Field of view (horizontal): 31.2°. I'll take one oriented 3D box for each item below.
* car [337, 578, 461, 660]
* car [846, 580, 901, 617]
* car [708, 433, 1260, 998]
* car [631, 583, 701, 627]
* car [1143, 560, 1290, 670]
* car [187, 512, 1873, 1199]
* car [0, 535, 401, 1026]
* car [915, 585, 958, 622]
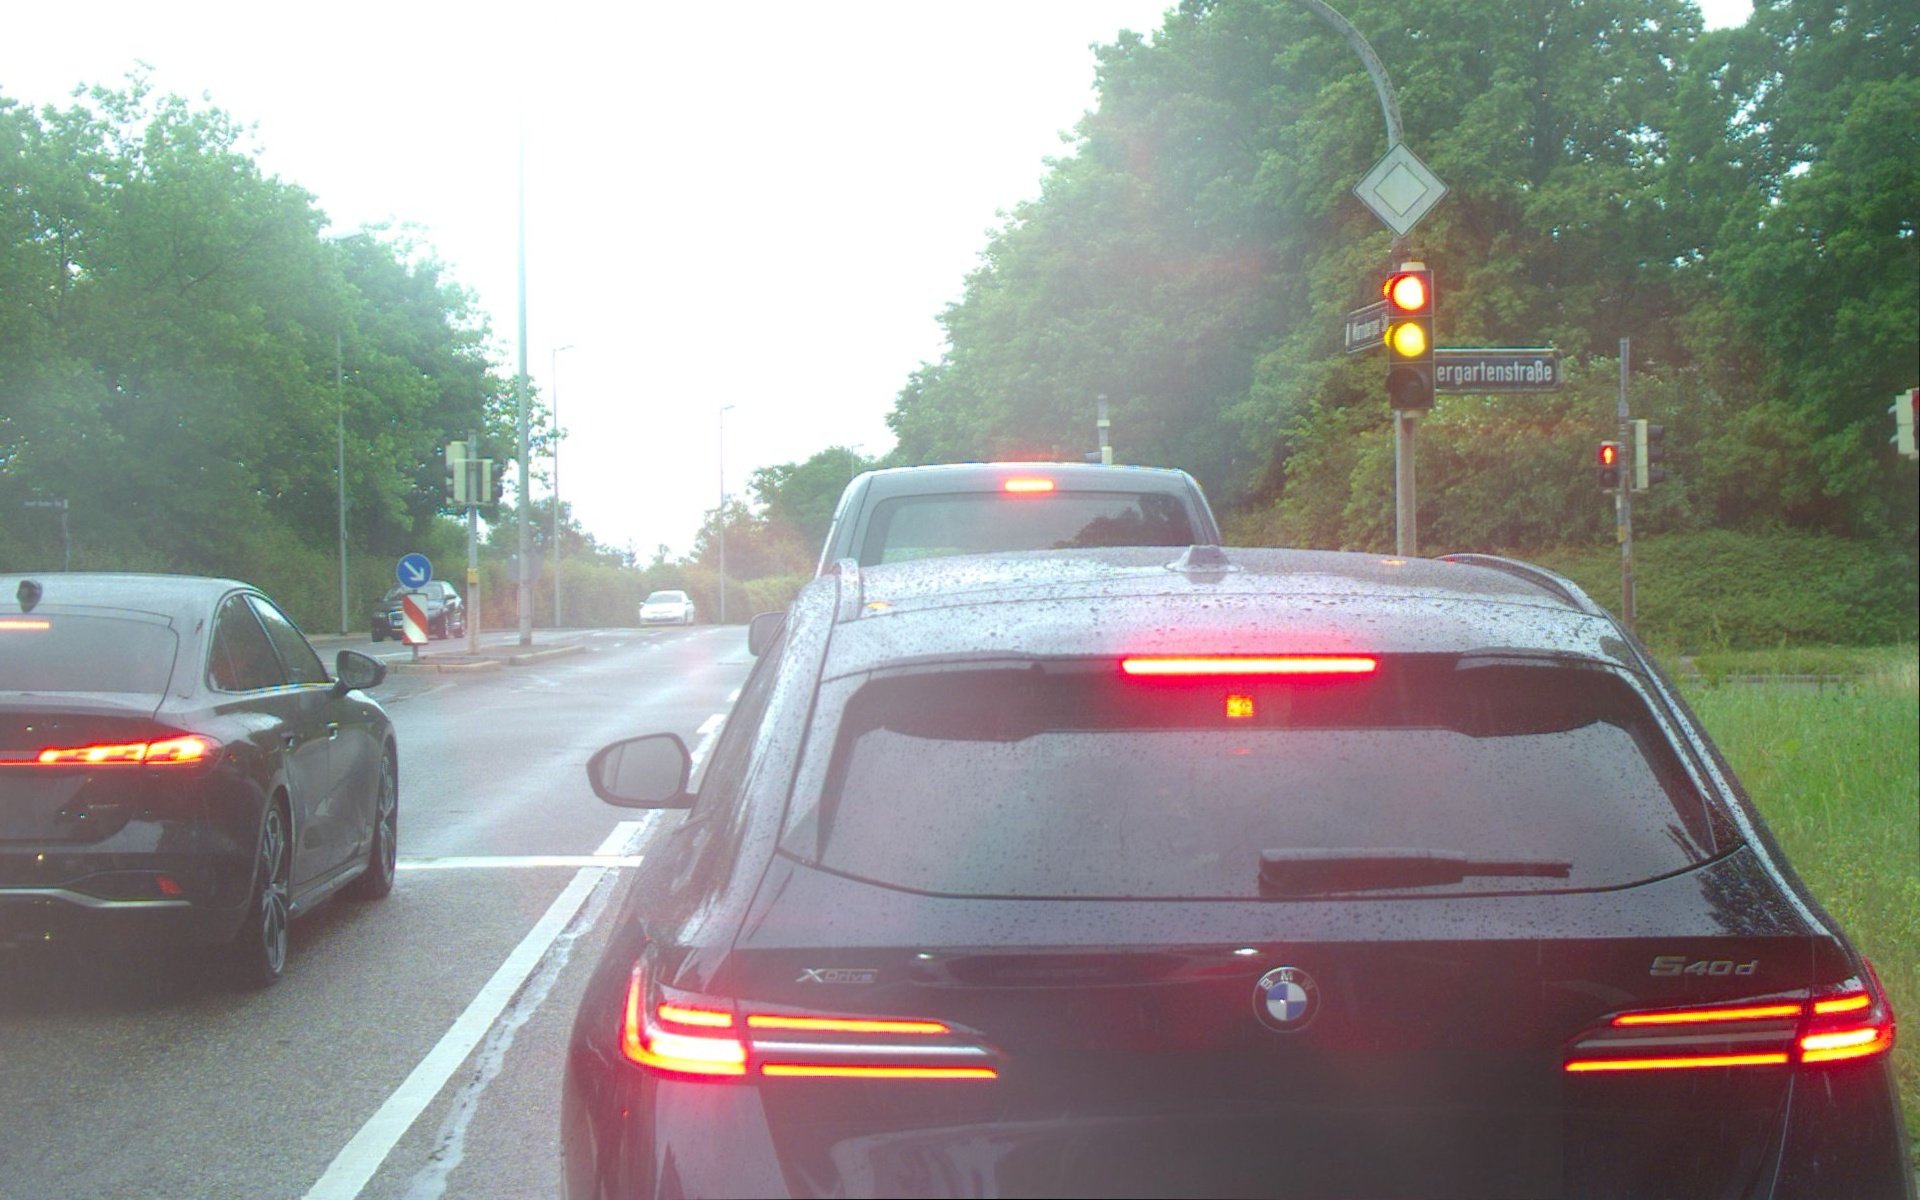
[{"bbox_3d":[-13.254,0.421,81.470,1.994,1.820,4.000,-2,0,3],"label":"car"},{"bbox_3d":[-4.343,-0.105,173.184,2.106,1.759,4.867,-2,0,6],"label":"car"},{"bbox_3d":[0.076,0.368,13.355,1.818,1.862,3.952,0,0,0],"label":"car"},{"bbox_3d":[-11.436,0.185,133.885,1.994,1.605,3.671,-2,0,6],"label":"car"},{"bbox_3d":[3.870,0.207,52.423,1.873,1.537,3.952,-2,0,0],"label":"car"},{"bbox_3d":[0.183,0.685,6.181,1.898,1.546,4.614,0,0,3],"label":"car"},{"bbox_3d":[-3.405,0.584,13.021,1.993,1.522,4.328,-2,0,-3],"label":"car"},{"bbox_3d":[-0.964,0.127,142.492,1.697,1.422,3.514,-2,0,0],"label":"car"}]
